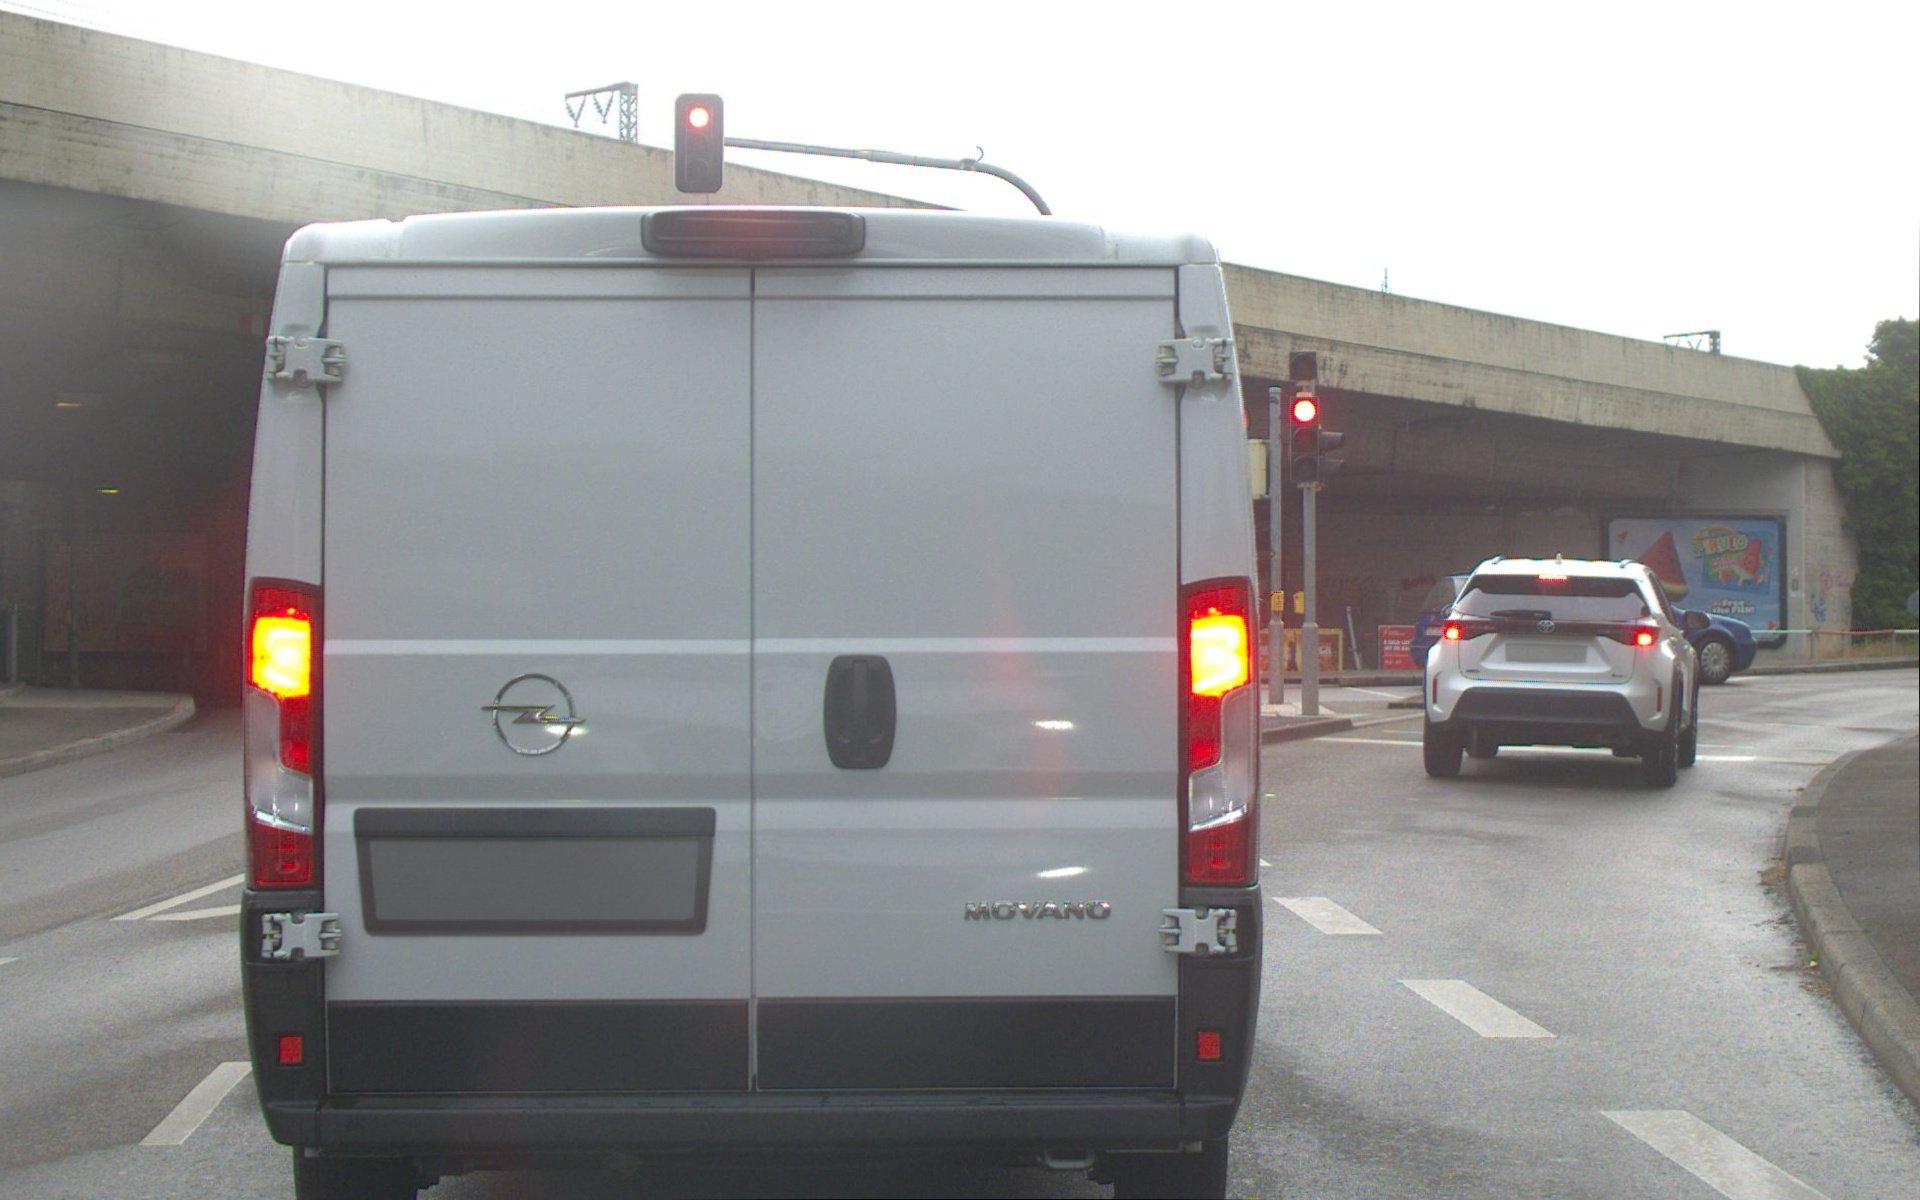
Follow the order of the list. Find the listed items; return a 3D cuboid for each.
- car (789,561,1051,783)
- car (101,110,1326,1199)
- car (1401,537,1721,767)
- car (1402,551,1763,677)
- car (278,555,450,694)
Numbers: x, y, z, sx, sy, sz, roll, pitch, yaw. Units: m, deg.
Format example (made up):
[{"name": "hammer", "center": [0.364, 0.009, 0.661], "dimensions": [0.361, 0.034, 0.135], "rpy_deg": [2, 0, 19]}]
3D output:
[{"name": "car", "center": [-0.259, 0.585, 28.822], "dimensions": [1.994, 1.723, 3.999], "rpy_deg": [0, -1, 2]}, {"name": "car", "center": [-0.496, 0.192, 9.172], "dimensions": [2.305, 2.335, 5.283], "rpy_deg": [-1, 1, -1]}, {"name": "car", "center": [4.497, 0.376, 25.283], "dimensions": [1.995, 1.544, 3.997], "rpy_deg": [0, -1, 15]}, {"name": "car", "center": [7.763, 0.196, 42.949], "dimensions": [3.986, 1.513, 2.000], "rpy_deg": [1, -1, -21]}, {"name": "car", "center": [-7.274, 0.273, 42.308], "dimensions": [1.914, 1.621, 4.435], "rpy_deg": [0, 0, -8]}]
